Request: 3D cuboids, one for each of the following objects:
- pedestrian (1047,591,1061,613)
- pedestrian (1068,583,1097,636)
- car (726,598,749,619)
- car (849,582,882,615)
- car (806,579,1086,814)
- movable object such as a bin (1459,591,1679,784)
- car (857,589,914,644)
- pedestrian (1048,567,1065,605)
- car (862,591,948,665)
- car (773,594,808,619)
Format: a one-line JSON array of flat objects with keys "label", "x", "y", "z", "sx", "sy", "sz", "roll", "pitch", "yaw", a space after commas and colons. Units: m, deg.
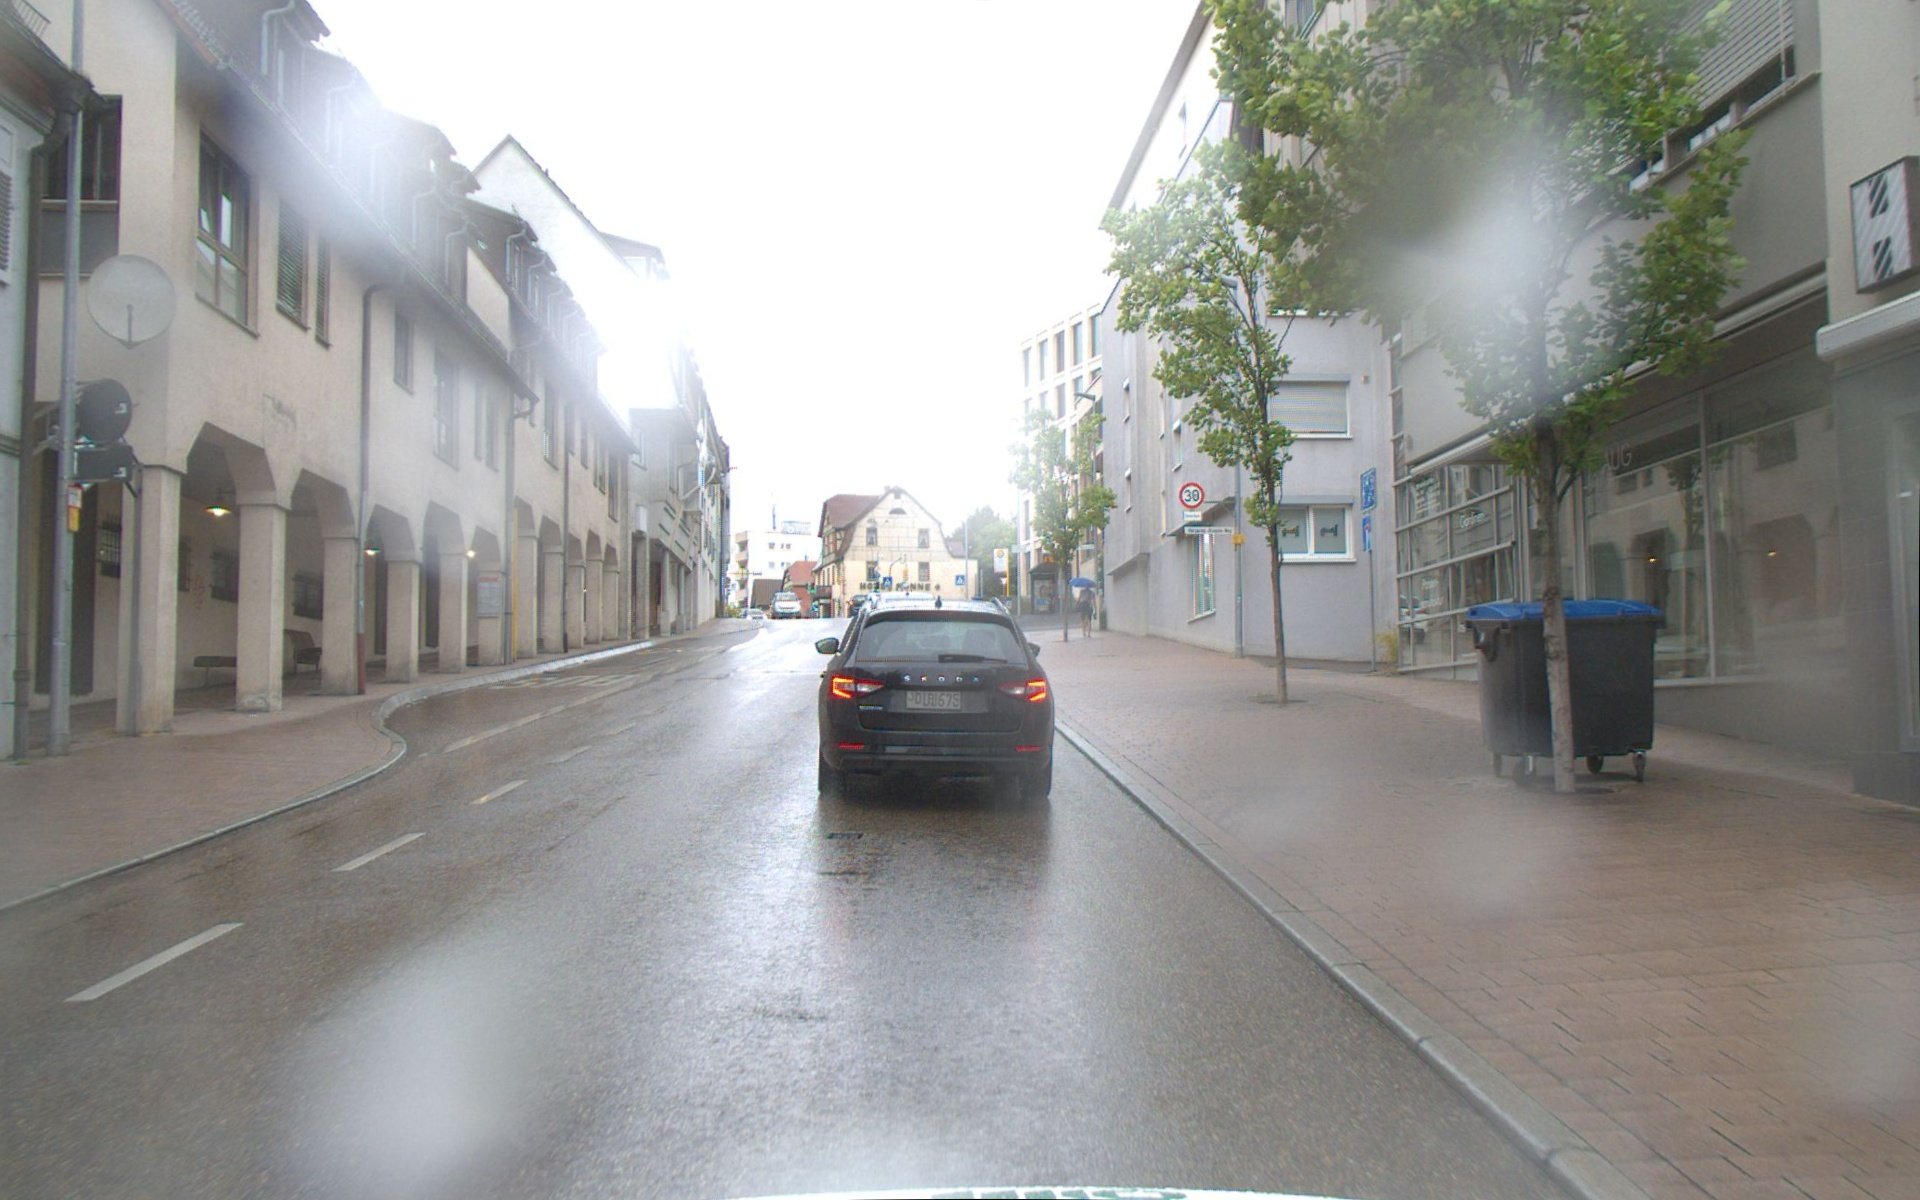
[{"label": "pedestrian", "x": 5.091, "y": 0.113, "z": 89.245, "sx": 0.658, "sy": 1.182, "sz": 0.635, "roll": -2, "pitch": 0, "yaw": -3}, {"label": "pedestrian", "x": 3.762, "y": 0.298, "z": 50.992, "sx": 0.721, "sy": 1.569, "sz": 1.038, "roll": -3, "pitch": 0, "yaw": 0}, {"label": "car", "x": -16.884, "y": 0.616, "z": 125.182, "sx": 1.646, "sy": 1.536, "sz": 3.581, "roll": -1, "pitch": 0, "yaw": -9}, {"label": "car", "x": -6.183, "y": -0.133, "z": 108.293, "sx": 1.953, "sy": 2.049, "sz": 3.999, "roll": -2, "pitch": 1, "yaw": -1}, {"label": "car", "x": -0.135, "y": 0.651, "z": 13.491, "sx": 1.905, "sy": 1.594, "sz": 4.416, "roll": 0, "pitch": 0, "yaw": -1}, {"label": "movable object such as a bin", "x": 4.610, "y": 0.634, "z": 12.625, "sx": 1.210, "sy": 1.358, "sz": 1.172, "roll": -2, "pitch": 0, "yaw": -1}, {"label": "car", "x": -2.311, "y": 0.479, "z": 50.949, "sx": 1.647, "sy": 1.587, "sz": 3.997, "roll": -1, "pitch": 0, "yaw": -3}, {"label": "pedestrian", "x": 5.106, "y": -0.716, "z": 87.623, "sx": 0.766, "sy": 1.974, "sz": 1.020, "roll": -2, "pitch": 0, "yaw": -3}, {"label": "car", "x": -1.253, "y": 0.576, "z": 36.085, "sx": 1.644, "sy": 1.536, "sz": 3.584, "roll": -1, "pitch": 0, "yaw": -6}, {"label": "car", "x": -10.468, "y": 0.386, "z": 102.366, "sx": 1.642, "sy": 1.536, "sz": 3.590, "roll": -1, "pitch": 0, "yaw": 2}]
